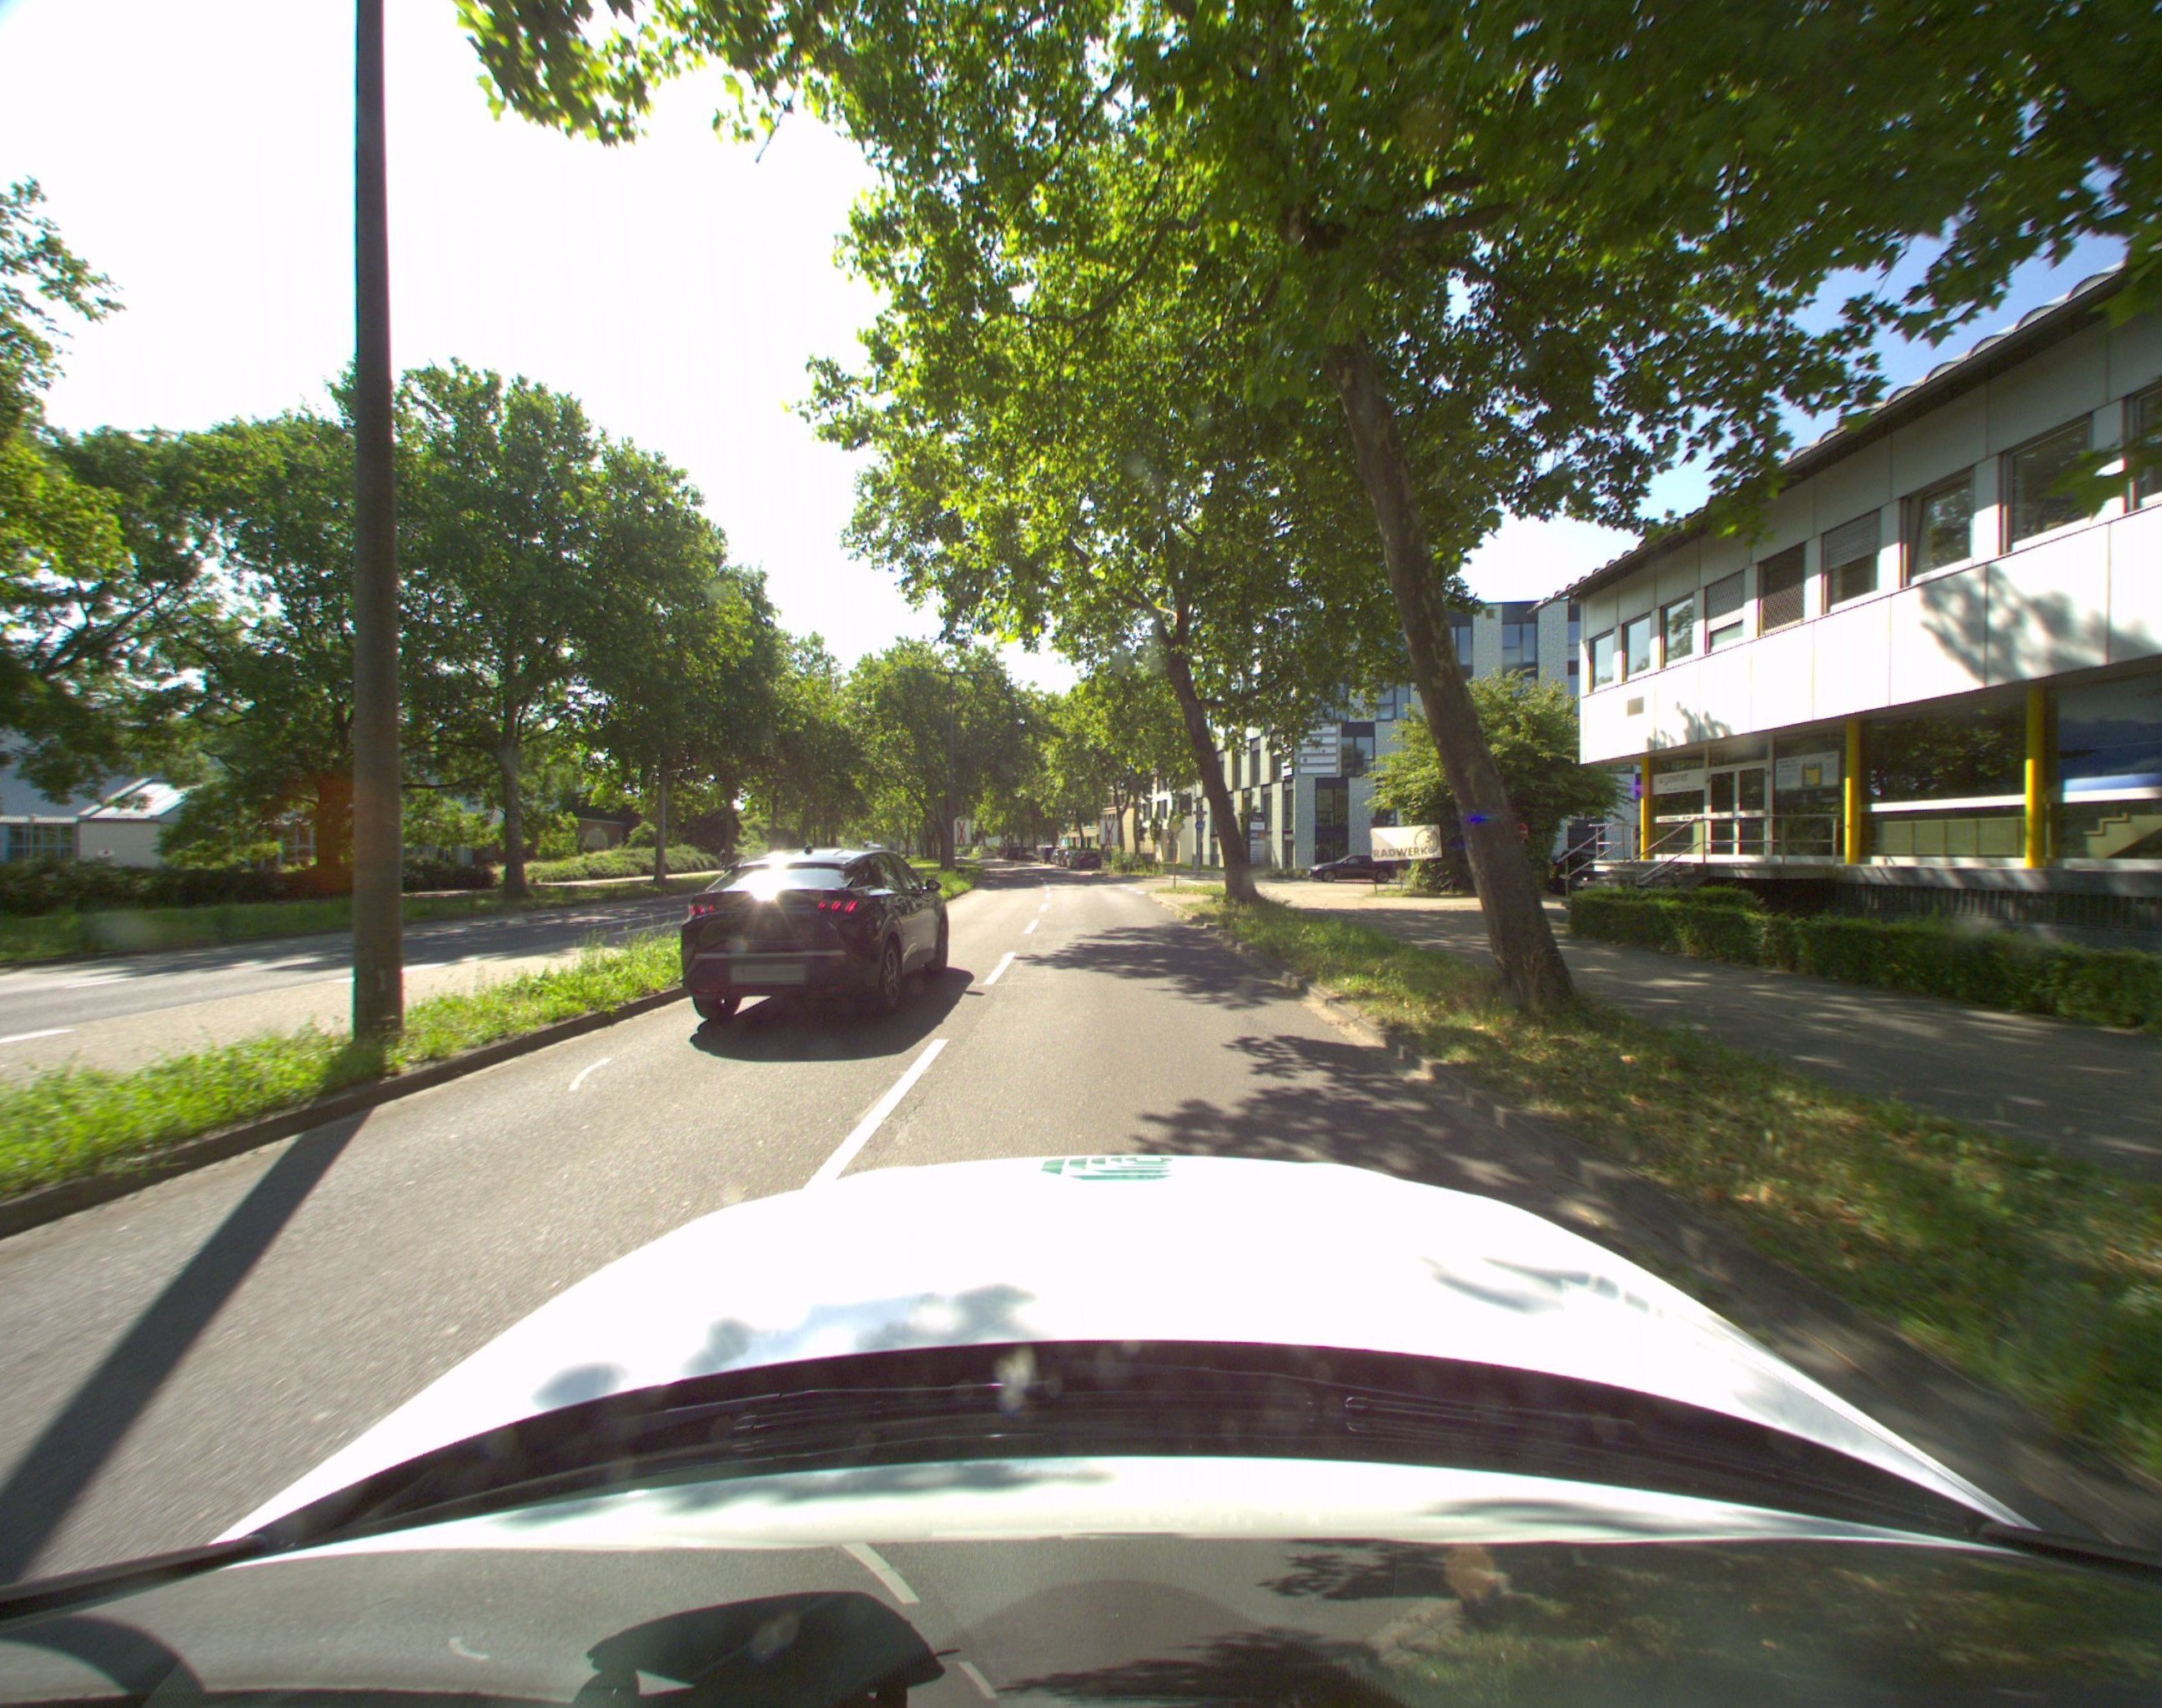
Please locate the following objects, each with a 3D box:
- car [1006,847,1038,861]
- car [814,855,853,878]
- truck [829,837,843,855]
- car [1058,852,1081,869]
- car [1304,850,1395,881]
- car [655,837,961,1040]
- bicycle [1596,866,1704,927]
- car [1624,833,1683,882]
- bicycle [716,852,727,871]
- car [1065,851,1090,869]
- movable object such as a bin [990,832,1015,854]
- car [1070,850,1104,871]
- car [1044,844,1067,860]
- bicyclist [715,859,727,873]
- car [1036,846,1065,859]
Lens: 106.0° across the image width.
[{"bbox_3d":[-8.198,-0.065,113.231,4.125,1.879,1.768,-1,1,-29],"label":"car"},{"bbox_3d":[-18.084,0.895,59.690,1.791,1.556,4.388,-1,0,-5],"label":"car"},{"bbox_3d":[-50.093,-1.657,166.252,2.458,3.449,7.053,1,1,-19],"label":"truck"},{"bbox_3d":[-1.091,0.558,74.491,1.705,1.455,4.645,-1,1,-7],"label":"car"},{"bbox_3d":[13.792,0.565,42.077,4.222,1.517,2.006,0,0,9],"label":"car"},{"bbox_3d":[-2.672,0.723,9.206,1.866,1.696,4.436,-1,0,1],"label":"car"},{"bbox_3d":[11.226,0.837,16.108,1.659,1.130,0.510,-2,0,11],"label":"bicycle"},{"bbox_3d":[21.259,0.129,30.317,1.659,1.662,3.772,-3,-1,34],"label":"car"},{"bbox_3d":[-27.405,0.550,62.083,0.428,1.385,0.953,-1,0,-7],"label":"bicycle"},{"bbox_3d":[-0.335,0.504,69.597,1.705,1.487,4.091,-1,1,-7],"label":"car"},{"bbox_3d":[-12.024,-1.675,124.283,2.346,3.240,3.393,-1,1,-37],"label":"movable object such as a bin"},{"bbox_3d":[0.419,0.474,63.772,1.707,1.487,4.702,-2,1,-11],"label":"car"},{"bbox_3d":[-2.749,-0.204,86.820,1.708,1.669,4.516,-1,1,-12],"label":"car"},{"bbox_3d":[-27.398,0.920,62.061,0.428,1.013,1.422,-1,0,-7],"label":"bicyclist"},{"bbox_3d":[-4.059,-0.156,107.024,3.558,1.640,1.651,-1,0,-15],"label":"car"}]
